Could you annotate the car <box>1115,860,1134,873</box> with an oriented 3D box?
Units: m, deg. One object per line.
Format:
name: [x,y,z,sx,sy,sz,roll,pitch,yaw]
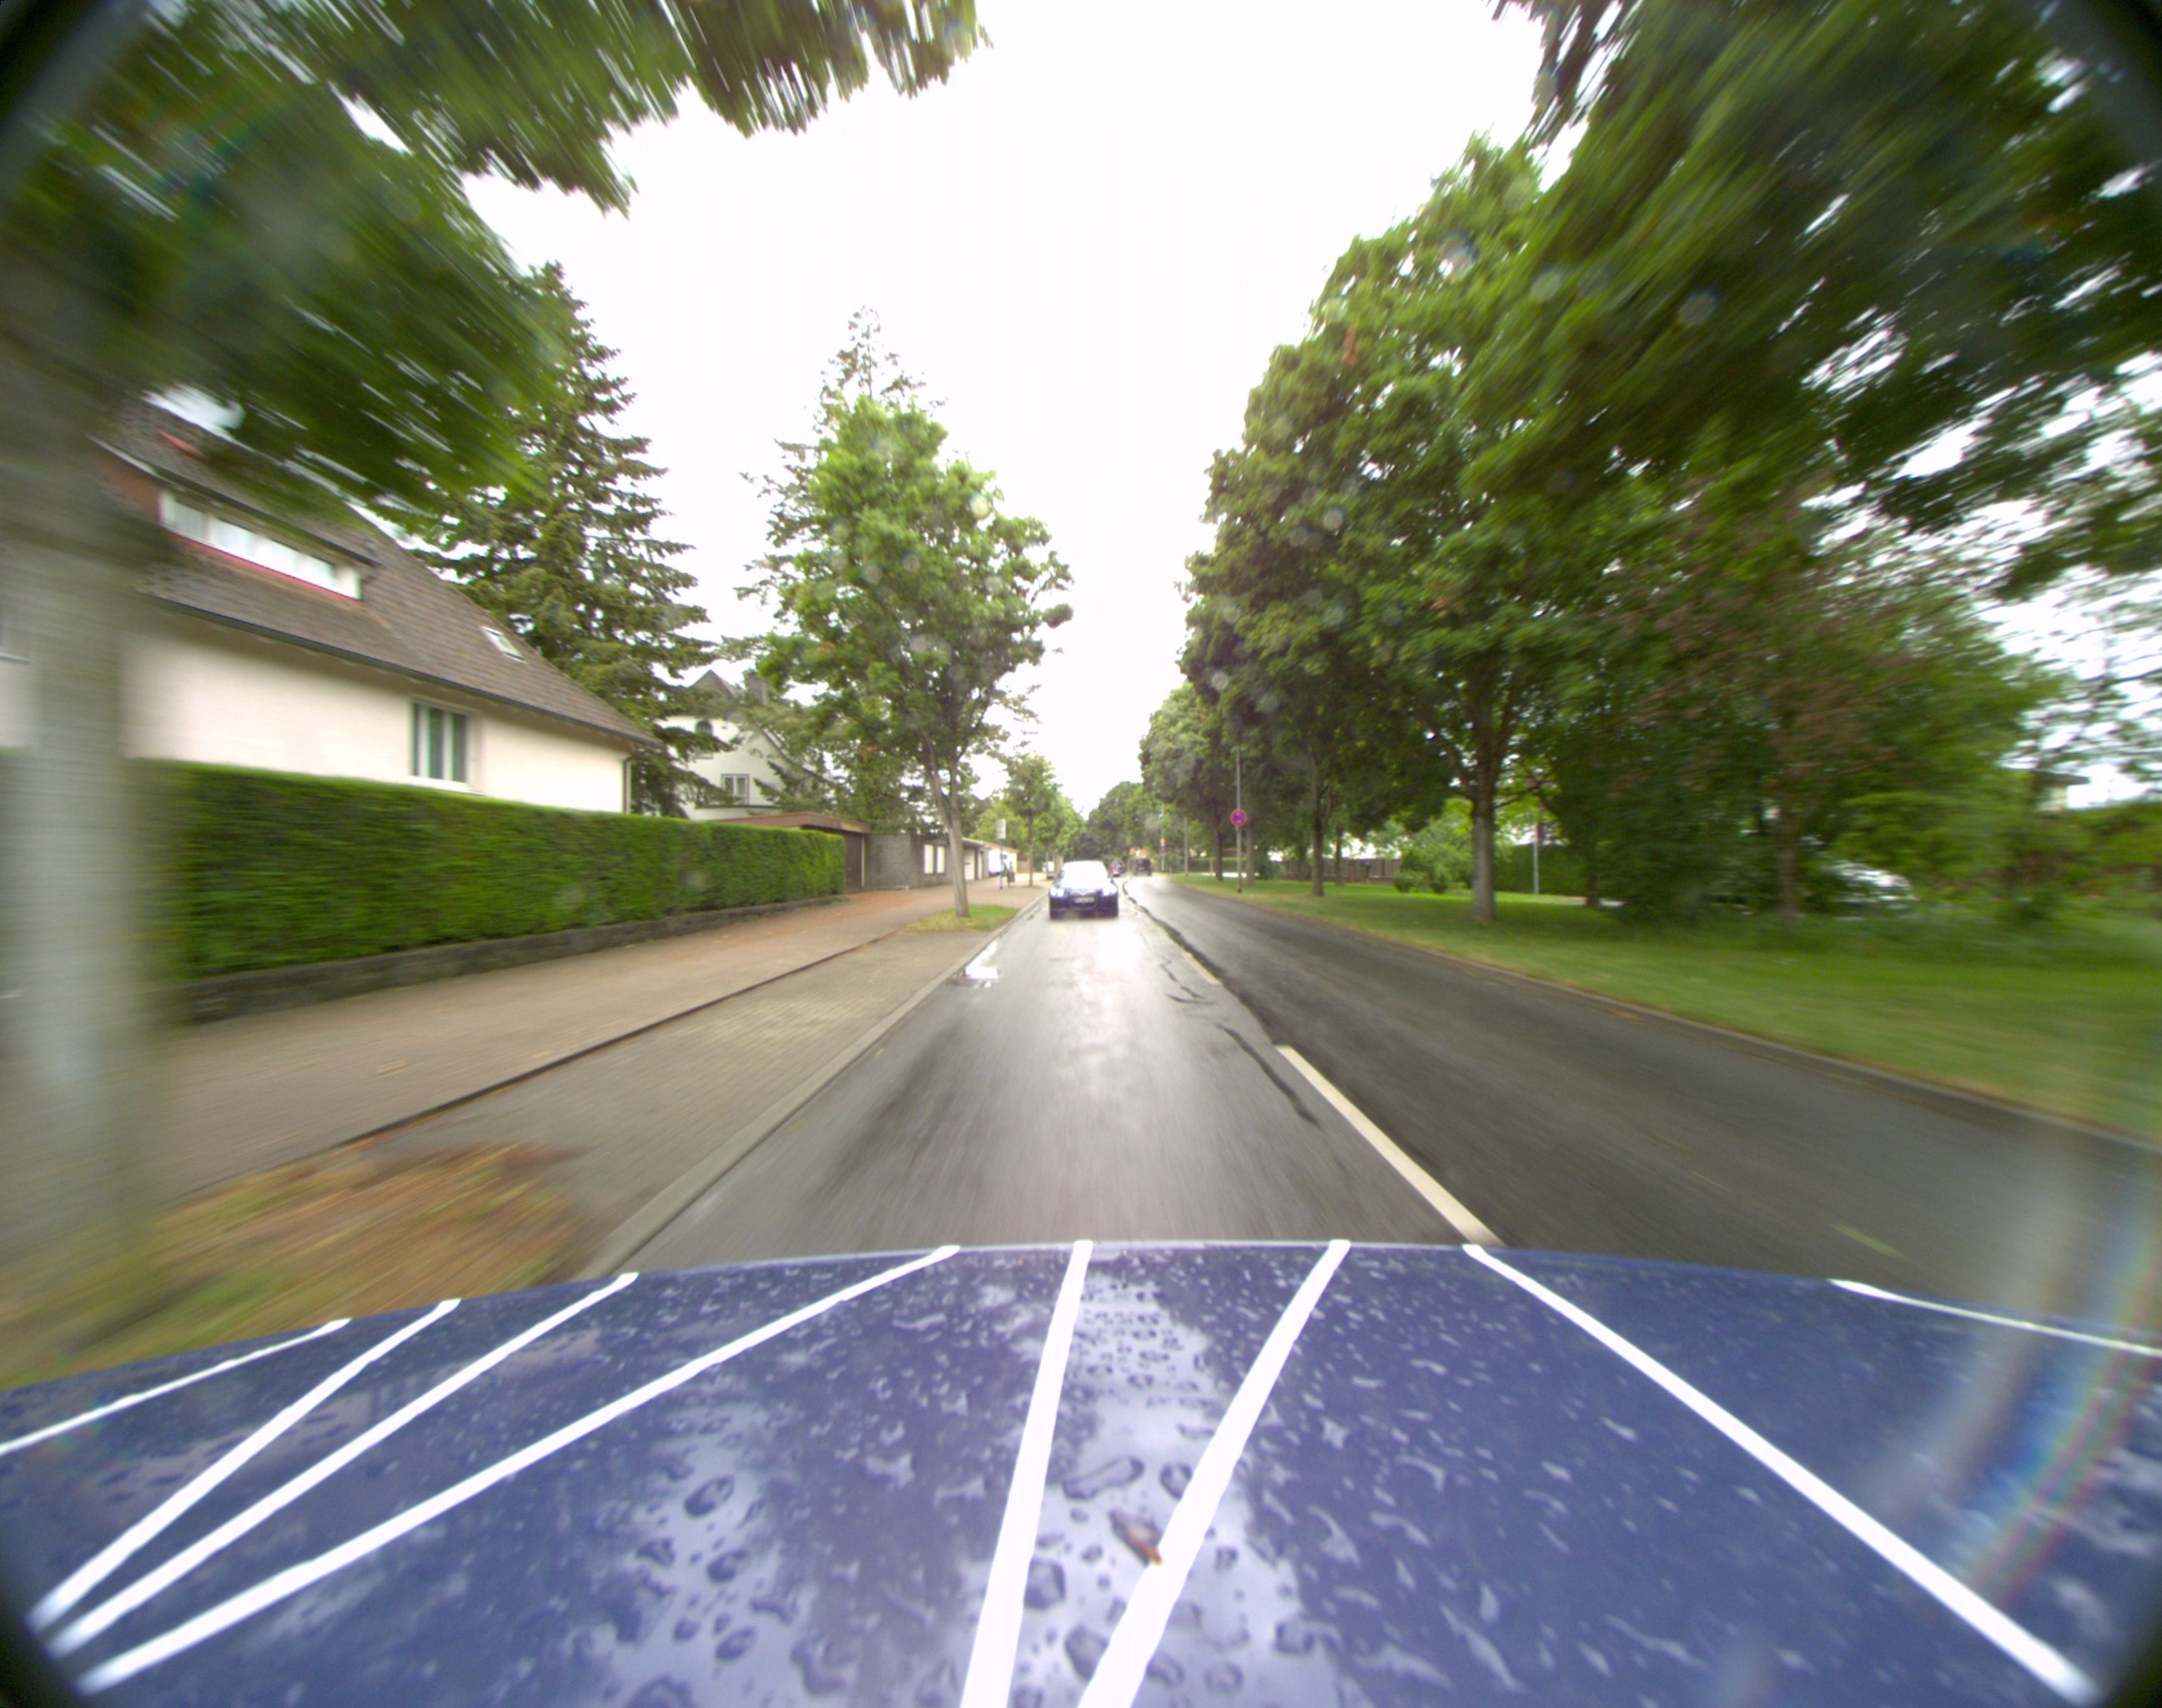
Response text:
car: [5.783,1.660,100.632,1.715,1.588,4.169,-1,-1,-8]

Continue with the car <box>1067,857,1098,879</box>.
car: [0.057,0.910,51.589,1.929,1.374,4.307,-2,0,-1]

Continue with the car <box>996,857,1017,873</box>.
car: [-7.878,1.159,80.938,1.700,1.552,4.000,-2,0,1]

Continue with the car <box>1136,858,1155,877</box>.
car: [6.396,1.319,75.718,1.780,1.763,4.287,-1,0,5]

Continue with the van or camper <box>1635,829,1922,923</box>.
van or camper: [19.521,0.570,21.855,2.096,2.322,6.150,0,0,-8]

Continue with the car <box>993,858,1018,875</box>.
car: [-6.694,1.075,67.595,1.666,1.413,4.000,-2,0,1]

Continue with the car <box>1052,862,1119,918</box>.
car: [0.171,1.007,22.742,1.815,1.459,3.975,-1,0,1]
